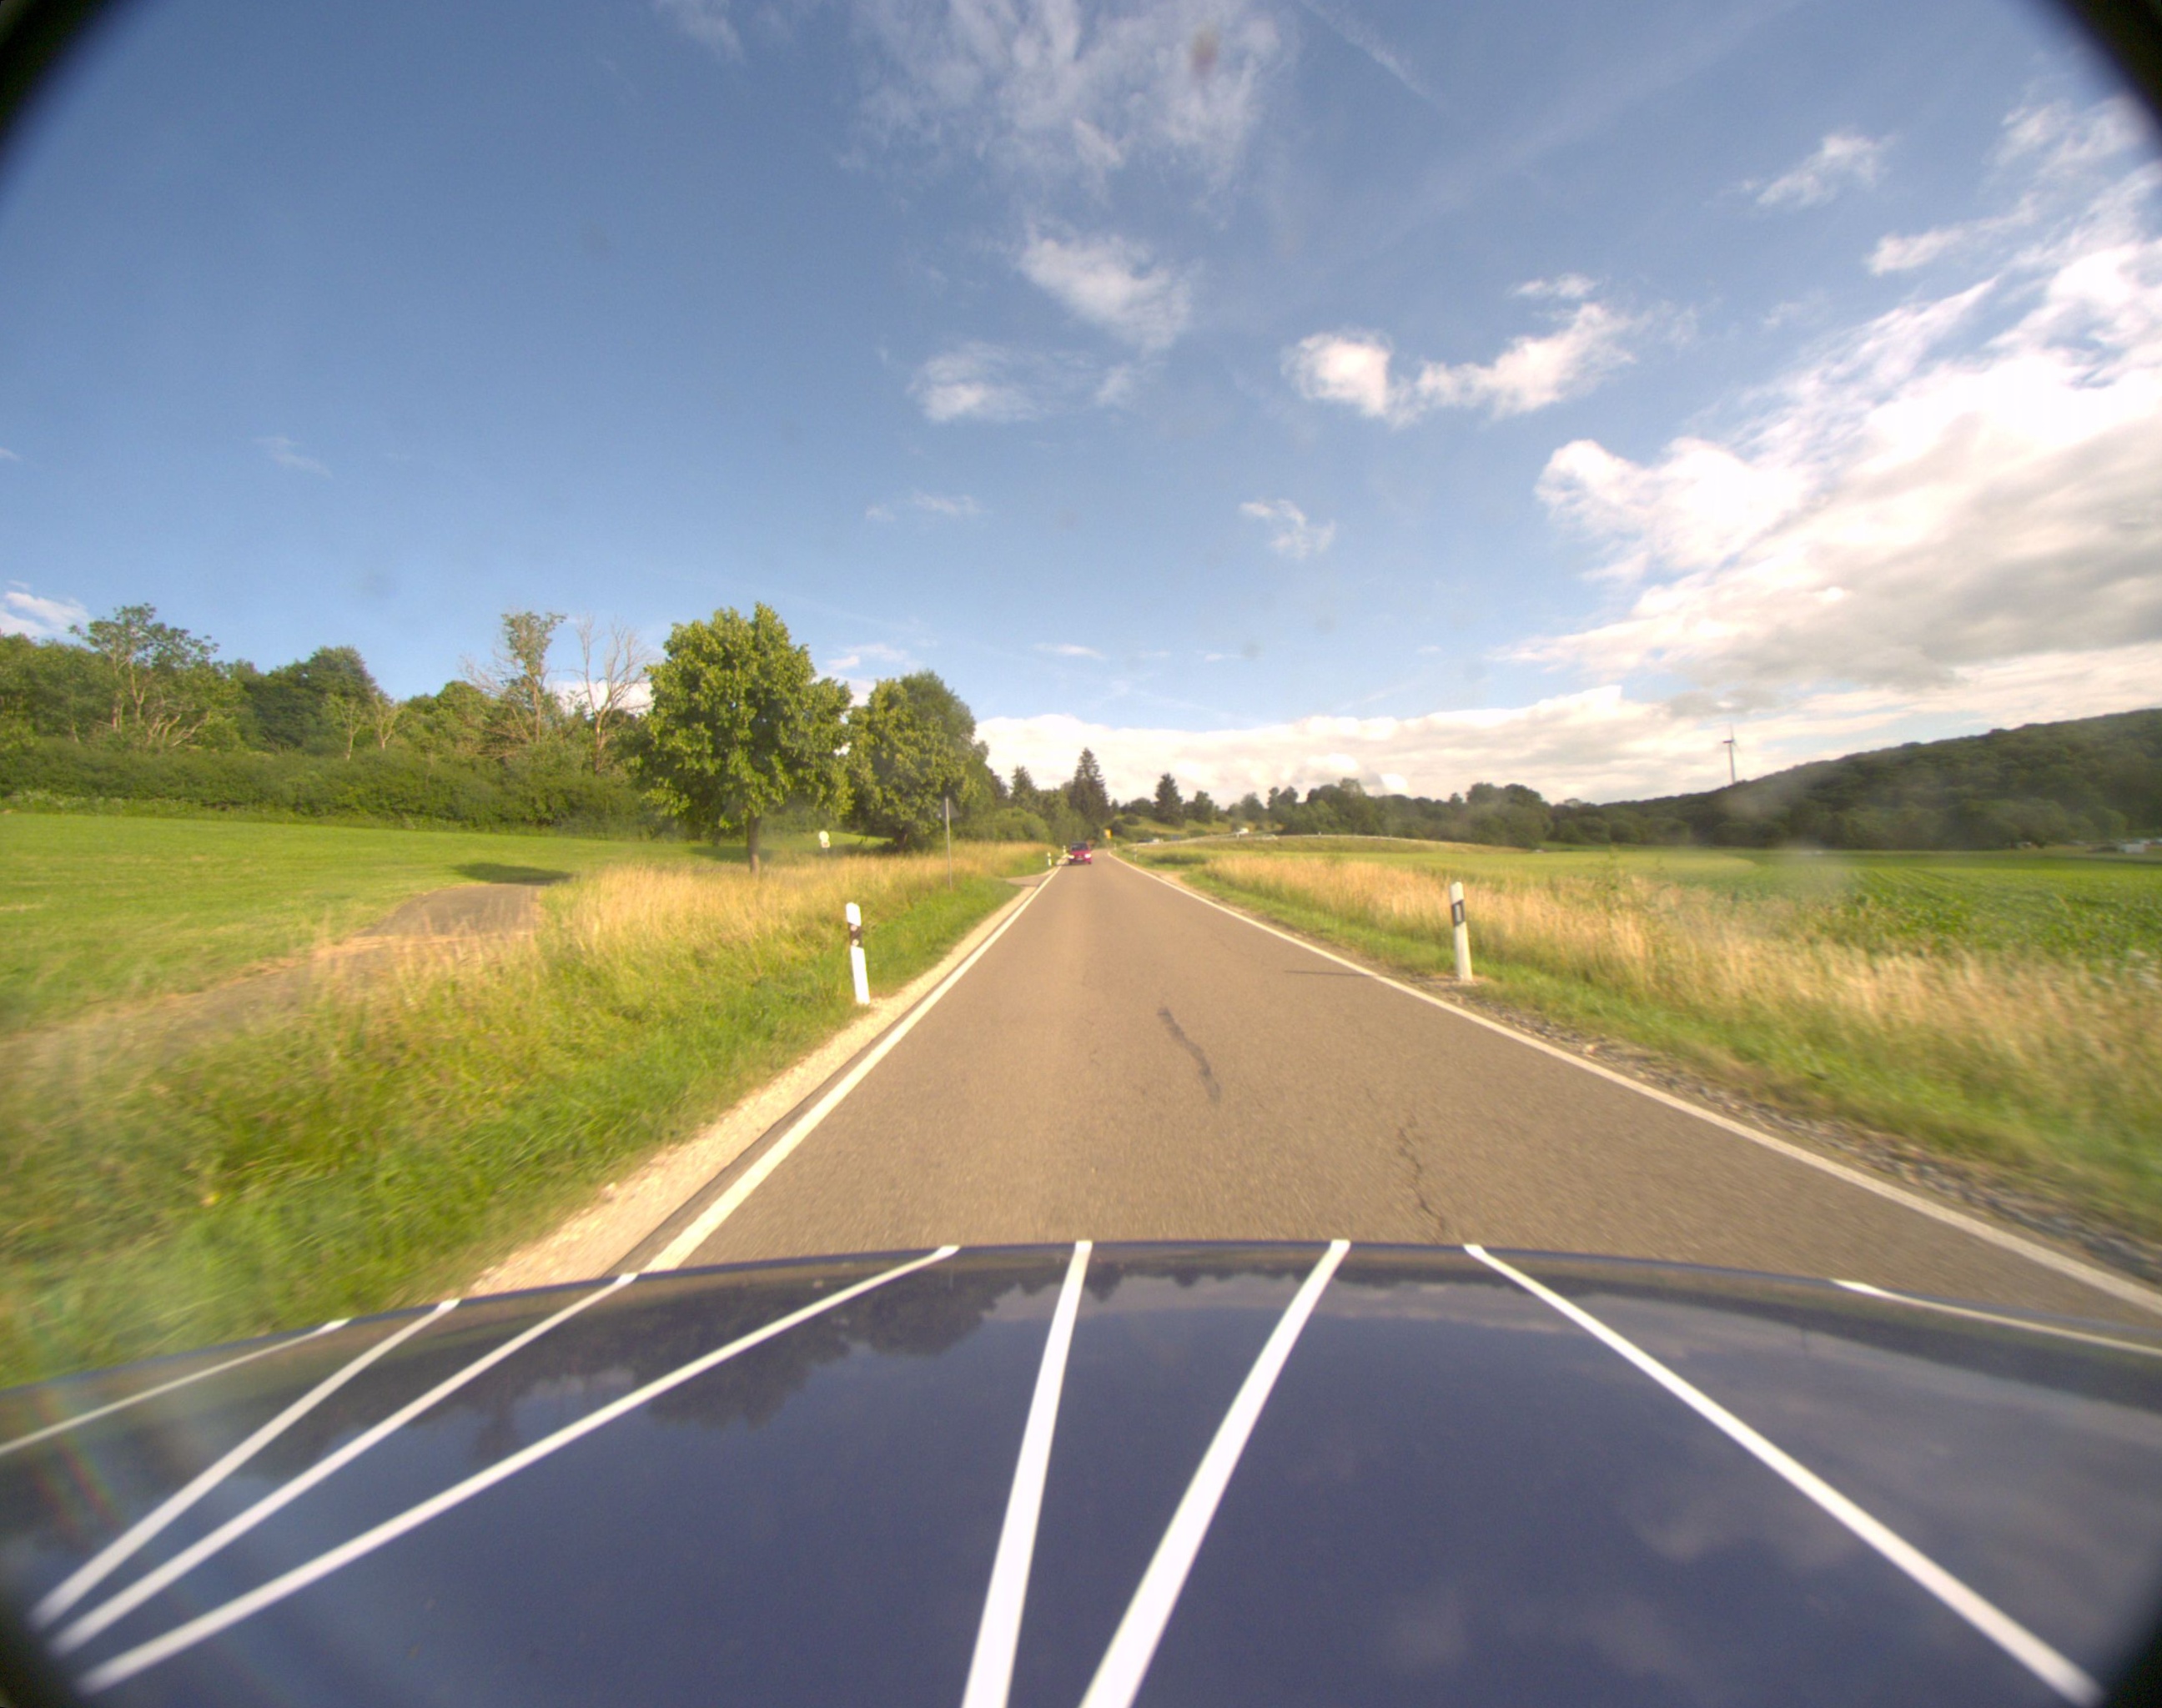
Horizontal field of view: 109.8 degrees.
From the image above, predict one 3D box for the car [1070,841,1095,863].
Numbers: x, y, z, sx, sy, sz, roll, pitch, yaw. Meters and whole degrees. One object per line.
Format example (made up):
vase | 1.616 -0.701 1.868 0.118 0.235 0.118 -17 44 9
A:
car | 0.077 -0.184 60.512 1.821 1.645 3.998 -2 1 -2
